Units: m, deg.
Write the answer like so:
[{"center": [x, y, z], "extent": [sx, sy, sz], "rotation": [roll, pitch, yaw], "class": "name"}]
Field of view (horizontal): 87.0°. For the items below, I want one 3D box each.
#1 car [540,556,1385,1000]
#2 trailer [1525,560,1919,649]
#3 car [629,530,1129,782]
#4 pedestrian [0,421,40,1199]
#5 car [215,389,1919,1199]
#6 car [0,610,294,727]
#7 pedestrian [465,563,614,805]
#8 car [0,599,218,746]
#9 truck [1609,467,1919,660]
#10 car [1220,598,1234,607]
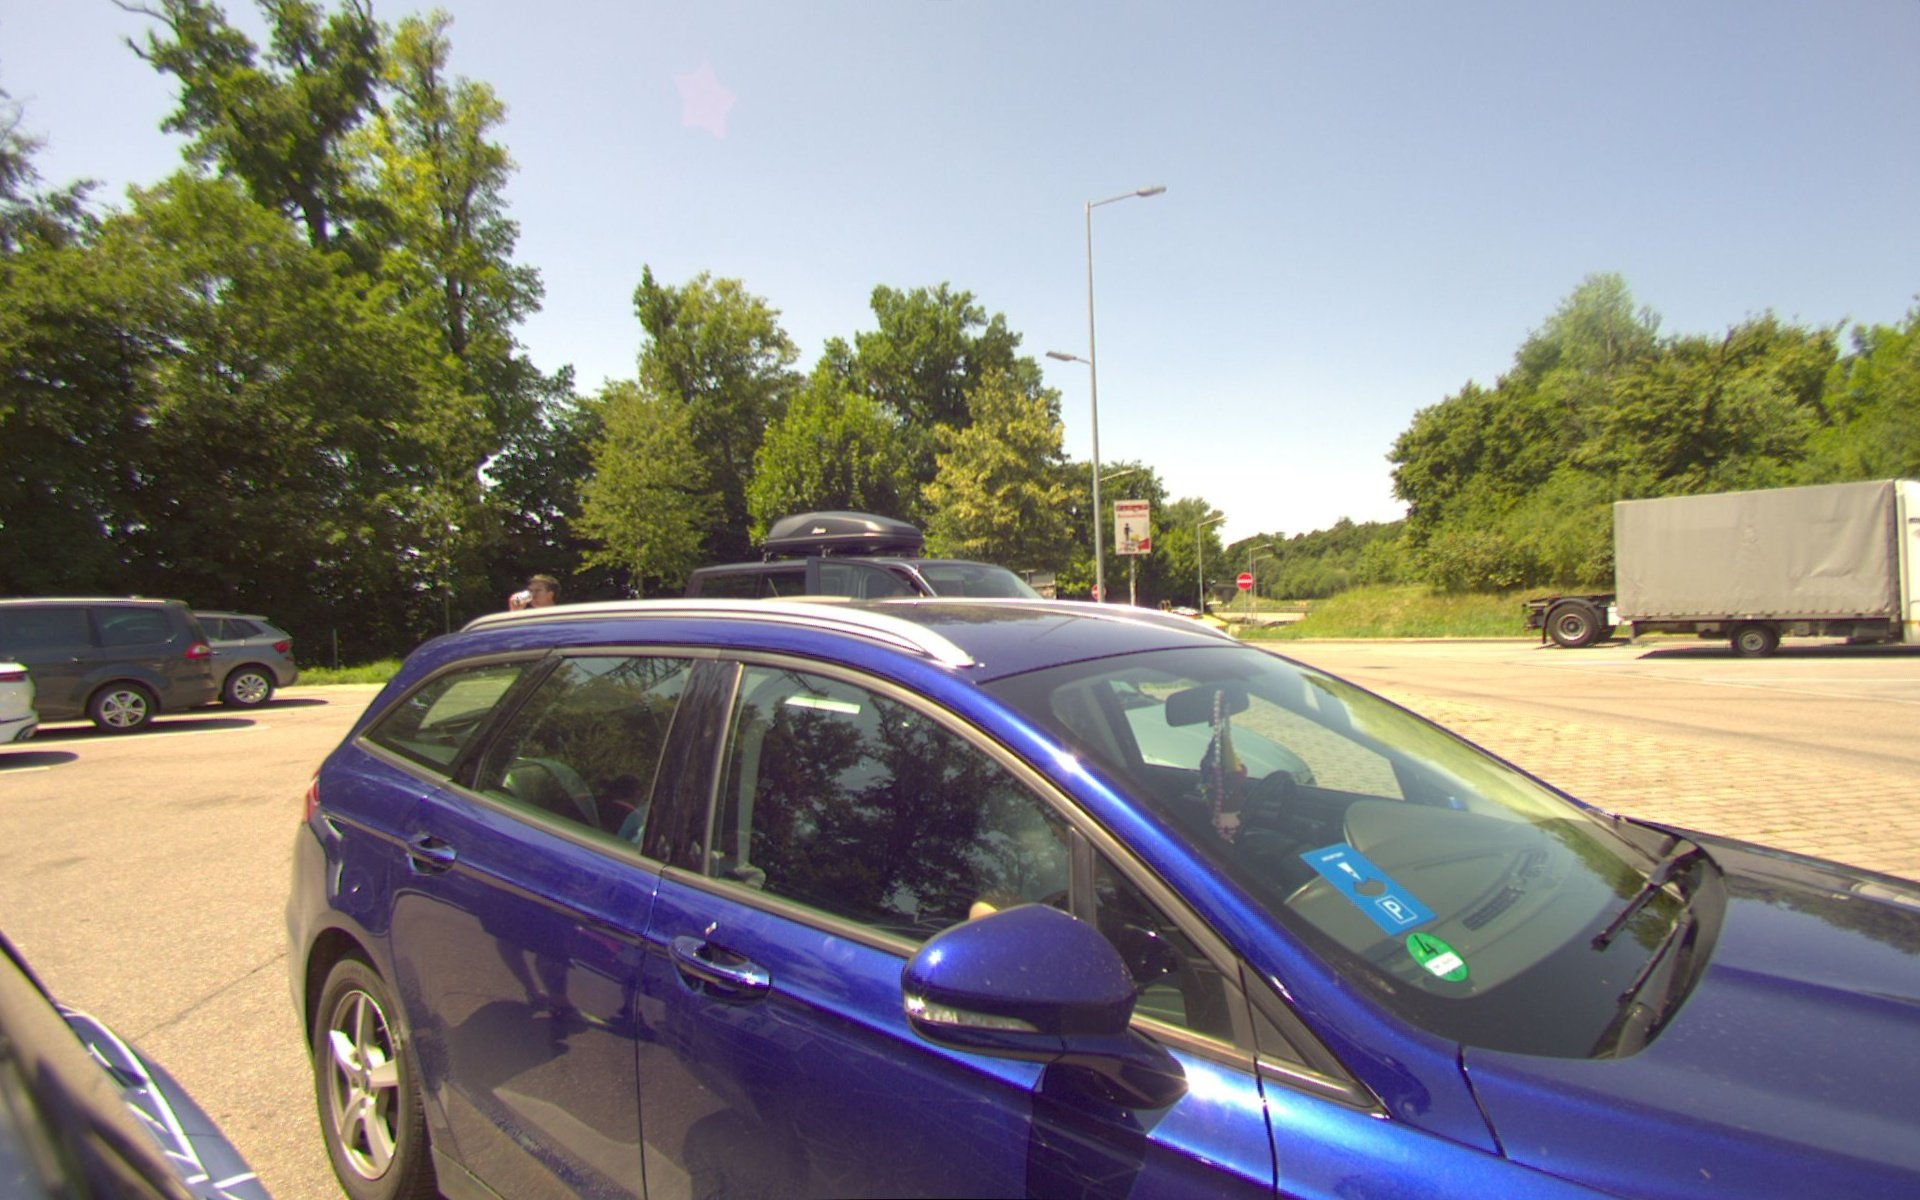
[{"center": [-0.317, 0.669, 5.591], "extent": [4.569, 1.517, 1.735], "rotation": [-3, 0, 40], "class": "car"}, {"center": [17.710, 0.158, 23.090], "extent": [8.098, 1.638, 2.187], "rotation": [-4, -1, 41], "class": "trailer"}, {"center": [-0.888, 0.499, 9.640], "extent": [4.558, 1.912, 1.740], "rotation": [-3, 0, 32], "class": "car"}, {"center": [-2.723, 0.521, 2.223], "extent": [0.905, 1.919, 0.816], "rotation": [-1, 0, -33], "class": "pedestrian"}, {"center": [0.238, 0.634, 2.054], "extent": [4.569, 1.482, 1.735], "rotation": [-3, 0, 40], "class": "car"}, {"center": [-12.619, 0.973, 15.644], "extent": [3.767, 1.572, 1.654], "rotation": [-1, 0, -38], "class": "car"}, {"center": [-3.277, 0.613, 7.904], "extent": [0.753, 1.767, 0.777], "rotation": [-1, 0, 32], "class": "pedestrian"}, {"center": [-11.627, 0.868, 12.637], "extent": [3.767, 1.708, 1.654], "rotation": [-1, 0, -38], "class": "car"}, {"center": [16.785, -0.647, 18.993], "extent": [7.274, 3.269, 2.678], "rotation": [-4, -1, 42], "class": "truck"}, {"center": [63.058, 0.584, 238.845], "extent": [1.971, 2.029, 4.002], "rotation": [-1, 0, -2], "class": "car"}]
